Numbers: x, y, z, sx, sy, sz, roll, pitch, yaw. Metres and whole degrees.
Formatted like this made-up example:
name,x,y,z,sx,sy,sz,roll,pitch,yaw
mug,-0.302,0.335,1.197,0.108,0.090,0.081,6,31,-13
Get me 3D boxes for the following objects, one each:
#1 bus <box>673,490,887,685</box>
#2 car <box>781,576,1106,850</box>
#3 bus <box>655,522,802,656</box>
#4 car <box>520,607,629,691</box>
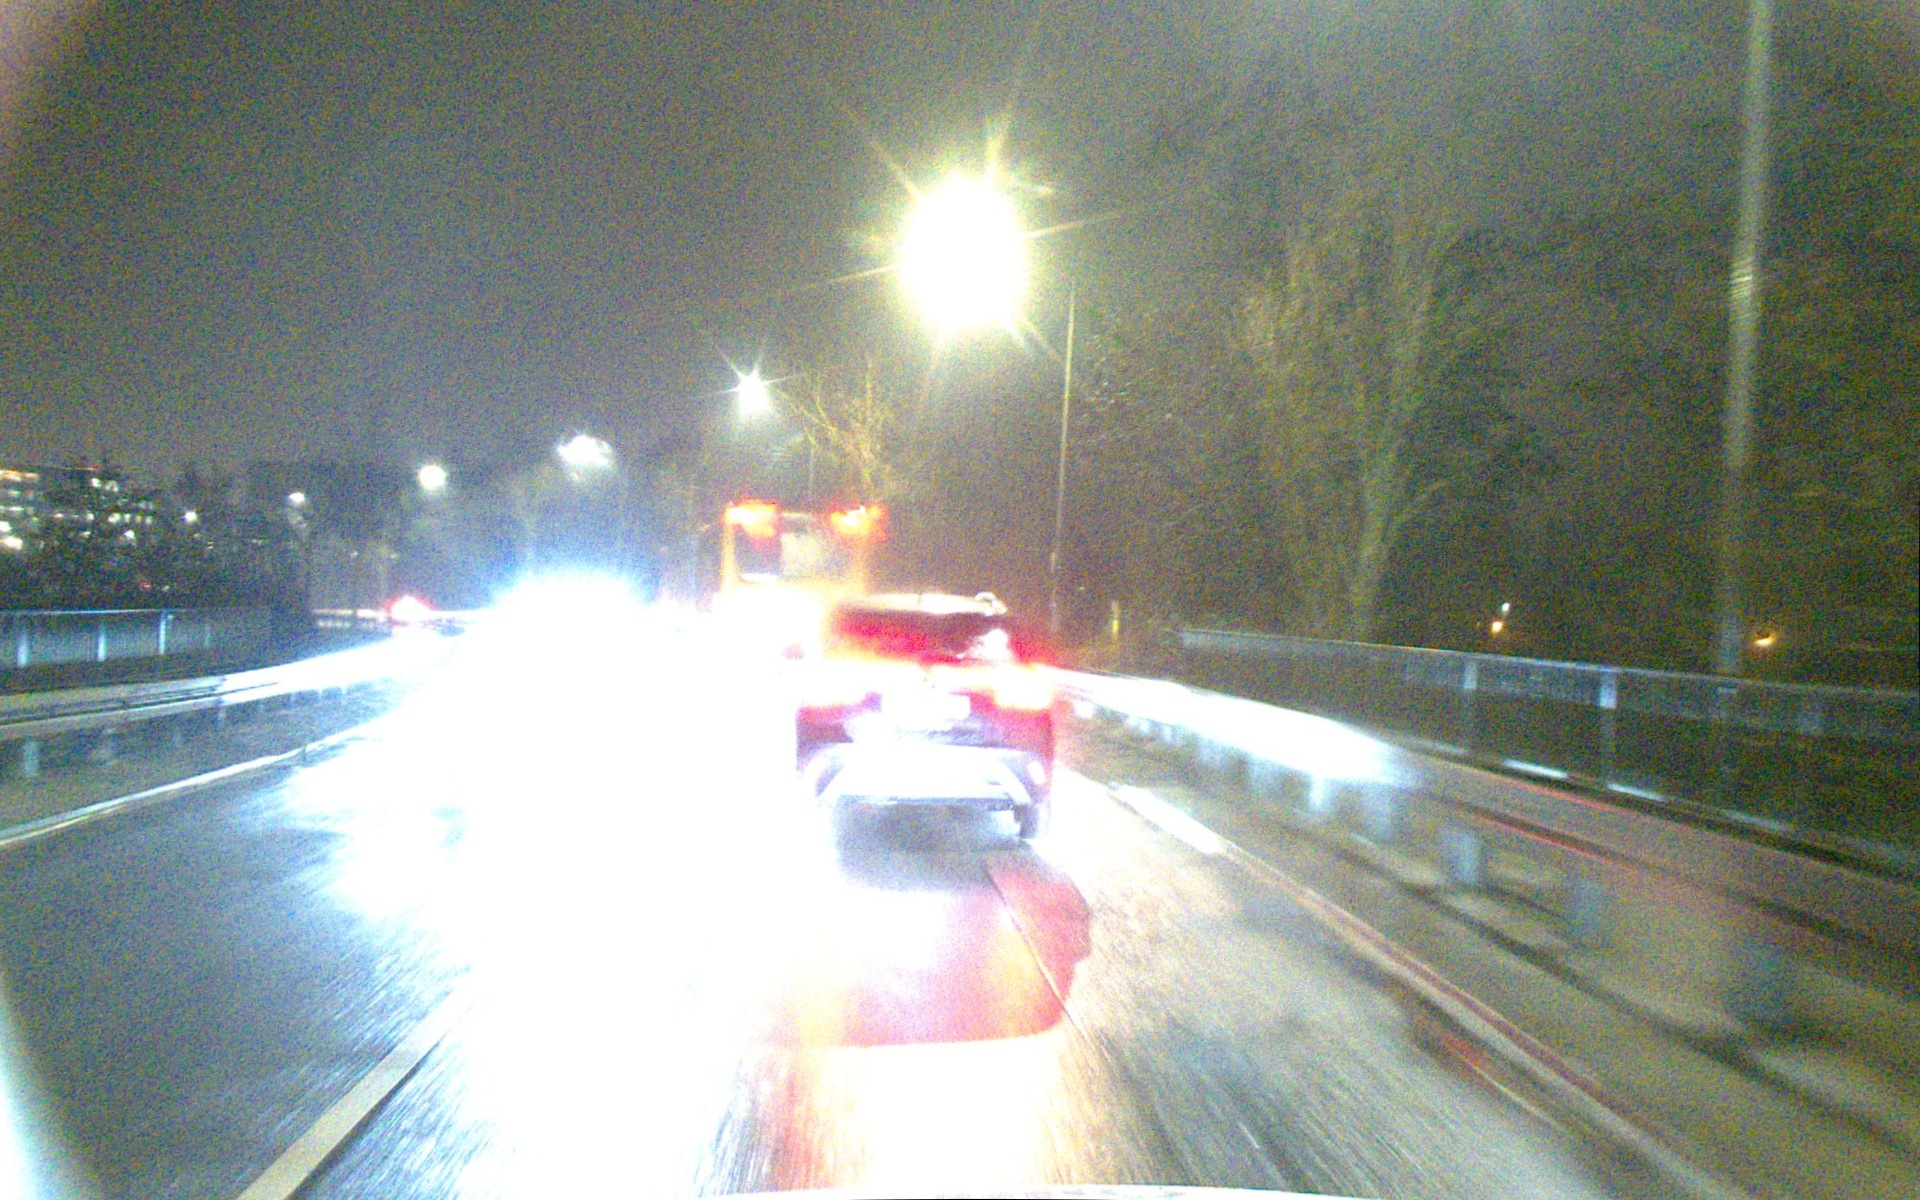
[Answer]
name,x,y,z,sx,sy,sz,roll,pitch,yaw
bus,-4.015,-0.225,33.488,3.029,3.187,12.658,0,0,-12
car,-0.300,0.677,11.847,1.821,1.614,3.992,1,0,-8
bus,-6.262,-0.260,43.667,2.997,3.186,8.047,0,0,-14
car,-8.209,0.992,35.579,1.862,1.594,4.726,1,1,-8
